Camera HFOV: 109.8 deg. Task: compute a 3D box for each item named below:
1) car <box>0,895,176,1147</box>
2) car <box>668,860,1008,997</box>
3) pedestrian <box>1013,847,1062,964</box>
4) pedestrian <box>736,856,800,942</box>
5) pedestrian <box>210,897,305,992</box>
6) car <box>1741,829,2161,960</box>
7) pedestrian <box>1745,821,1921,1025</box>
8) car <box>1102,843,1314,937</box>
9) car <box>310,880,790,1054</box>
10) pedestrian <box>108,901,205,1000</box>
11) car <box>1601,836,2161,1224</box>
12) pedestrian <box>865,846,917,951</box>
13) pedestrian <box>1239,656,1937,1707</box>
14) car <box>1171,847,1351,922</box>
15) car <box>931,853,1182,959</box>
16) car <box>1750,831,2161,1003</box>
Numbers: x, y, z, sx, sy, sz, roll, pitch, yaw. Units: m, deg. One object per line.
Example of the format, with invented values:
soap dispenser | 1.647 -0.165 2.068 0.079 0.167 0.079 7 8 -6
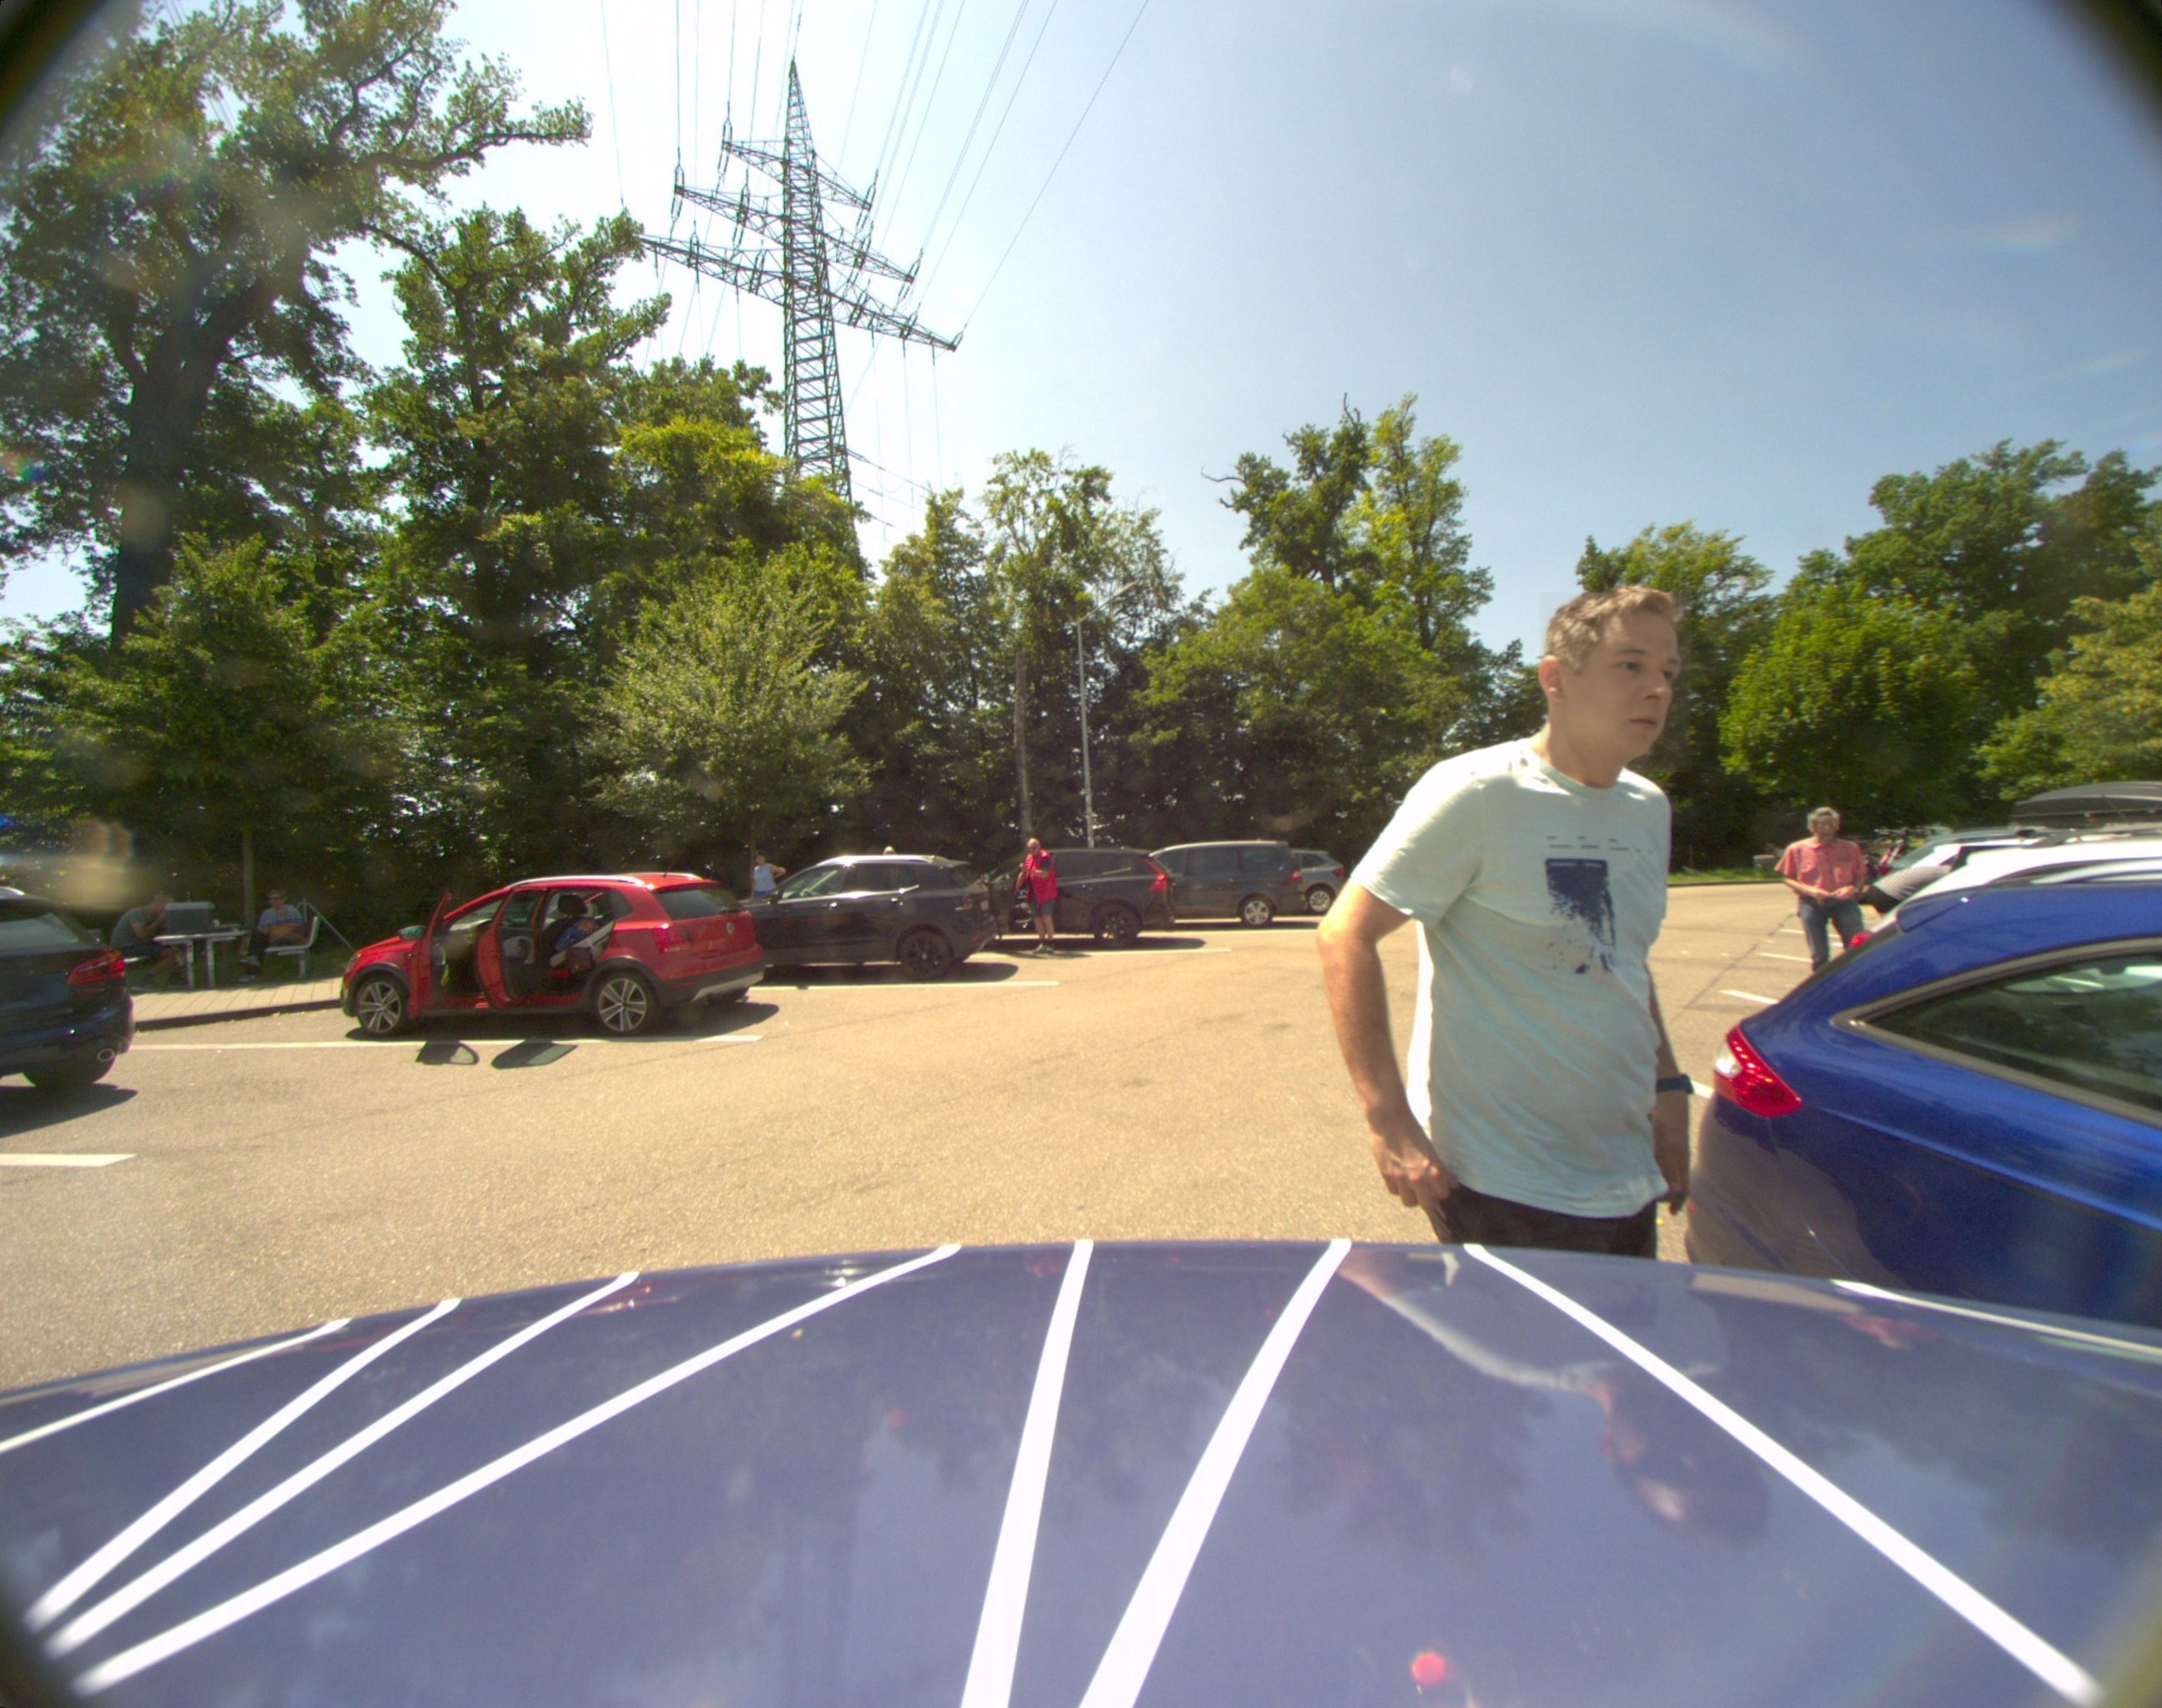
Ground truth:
car | -8.913 1.161 4.996 4.011 1.558 1.846 -2 0 6
car | -3.141 0.942 10.374 3.966 1.582 1.841 -2 0 3
pedestrian | -0.663 0.784 11.760 0.660 1.745 0.636 -2 0 1
pedestrian | -6.003 0.839 14.579 0.713 1.584 0.811 -2 0 33
pedestrian | -11.961 1.287 11.048 0.828 1.287 0.672 -2 0 24
car | 12.370 0.479 10.937 1.779 1.456 4.470 -2 -1 0
pedestrian | 6.273 0.550 6.386 0.672 1.592 0.759 -2 0 1
car | 2.514 0.700 15.445 3.964 1.678 1.781 -2 0 7
car | -5.188 1.076 7.714 3.704 1.448 1.781 -2 0 7
pedestrian | -12.731 1.309 10.469 0.652 1.262 0.672 -2 0 24
car | 4.971 0.658 3.675 1.779 1.456 4.470 -2 -1 0
pedestrian | -3.497 0.802 13.957 0.682 1.854 0.713 -2 0 -30
pedestrian | 0.683 0.624 1.214 0.687 1.699 0.578 -2 0 1
car | 4.183 0.716 18.197 3.964 1.577 1.781 -2 0 7
car | -0.322 0.844 12.953 3.964 1.582 1.781 -2 0 8
car | 10.069 0.535 8.153 1.779 1.456 4.470 -2 -1 0
